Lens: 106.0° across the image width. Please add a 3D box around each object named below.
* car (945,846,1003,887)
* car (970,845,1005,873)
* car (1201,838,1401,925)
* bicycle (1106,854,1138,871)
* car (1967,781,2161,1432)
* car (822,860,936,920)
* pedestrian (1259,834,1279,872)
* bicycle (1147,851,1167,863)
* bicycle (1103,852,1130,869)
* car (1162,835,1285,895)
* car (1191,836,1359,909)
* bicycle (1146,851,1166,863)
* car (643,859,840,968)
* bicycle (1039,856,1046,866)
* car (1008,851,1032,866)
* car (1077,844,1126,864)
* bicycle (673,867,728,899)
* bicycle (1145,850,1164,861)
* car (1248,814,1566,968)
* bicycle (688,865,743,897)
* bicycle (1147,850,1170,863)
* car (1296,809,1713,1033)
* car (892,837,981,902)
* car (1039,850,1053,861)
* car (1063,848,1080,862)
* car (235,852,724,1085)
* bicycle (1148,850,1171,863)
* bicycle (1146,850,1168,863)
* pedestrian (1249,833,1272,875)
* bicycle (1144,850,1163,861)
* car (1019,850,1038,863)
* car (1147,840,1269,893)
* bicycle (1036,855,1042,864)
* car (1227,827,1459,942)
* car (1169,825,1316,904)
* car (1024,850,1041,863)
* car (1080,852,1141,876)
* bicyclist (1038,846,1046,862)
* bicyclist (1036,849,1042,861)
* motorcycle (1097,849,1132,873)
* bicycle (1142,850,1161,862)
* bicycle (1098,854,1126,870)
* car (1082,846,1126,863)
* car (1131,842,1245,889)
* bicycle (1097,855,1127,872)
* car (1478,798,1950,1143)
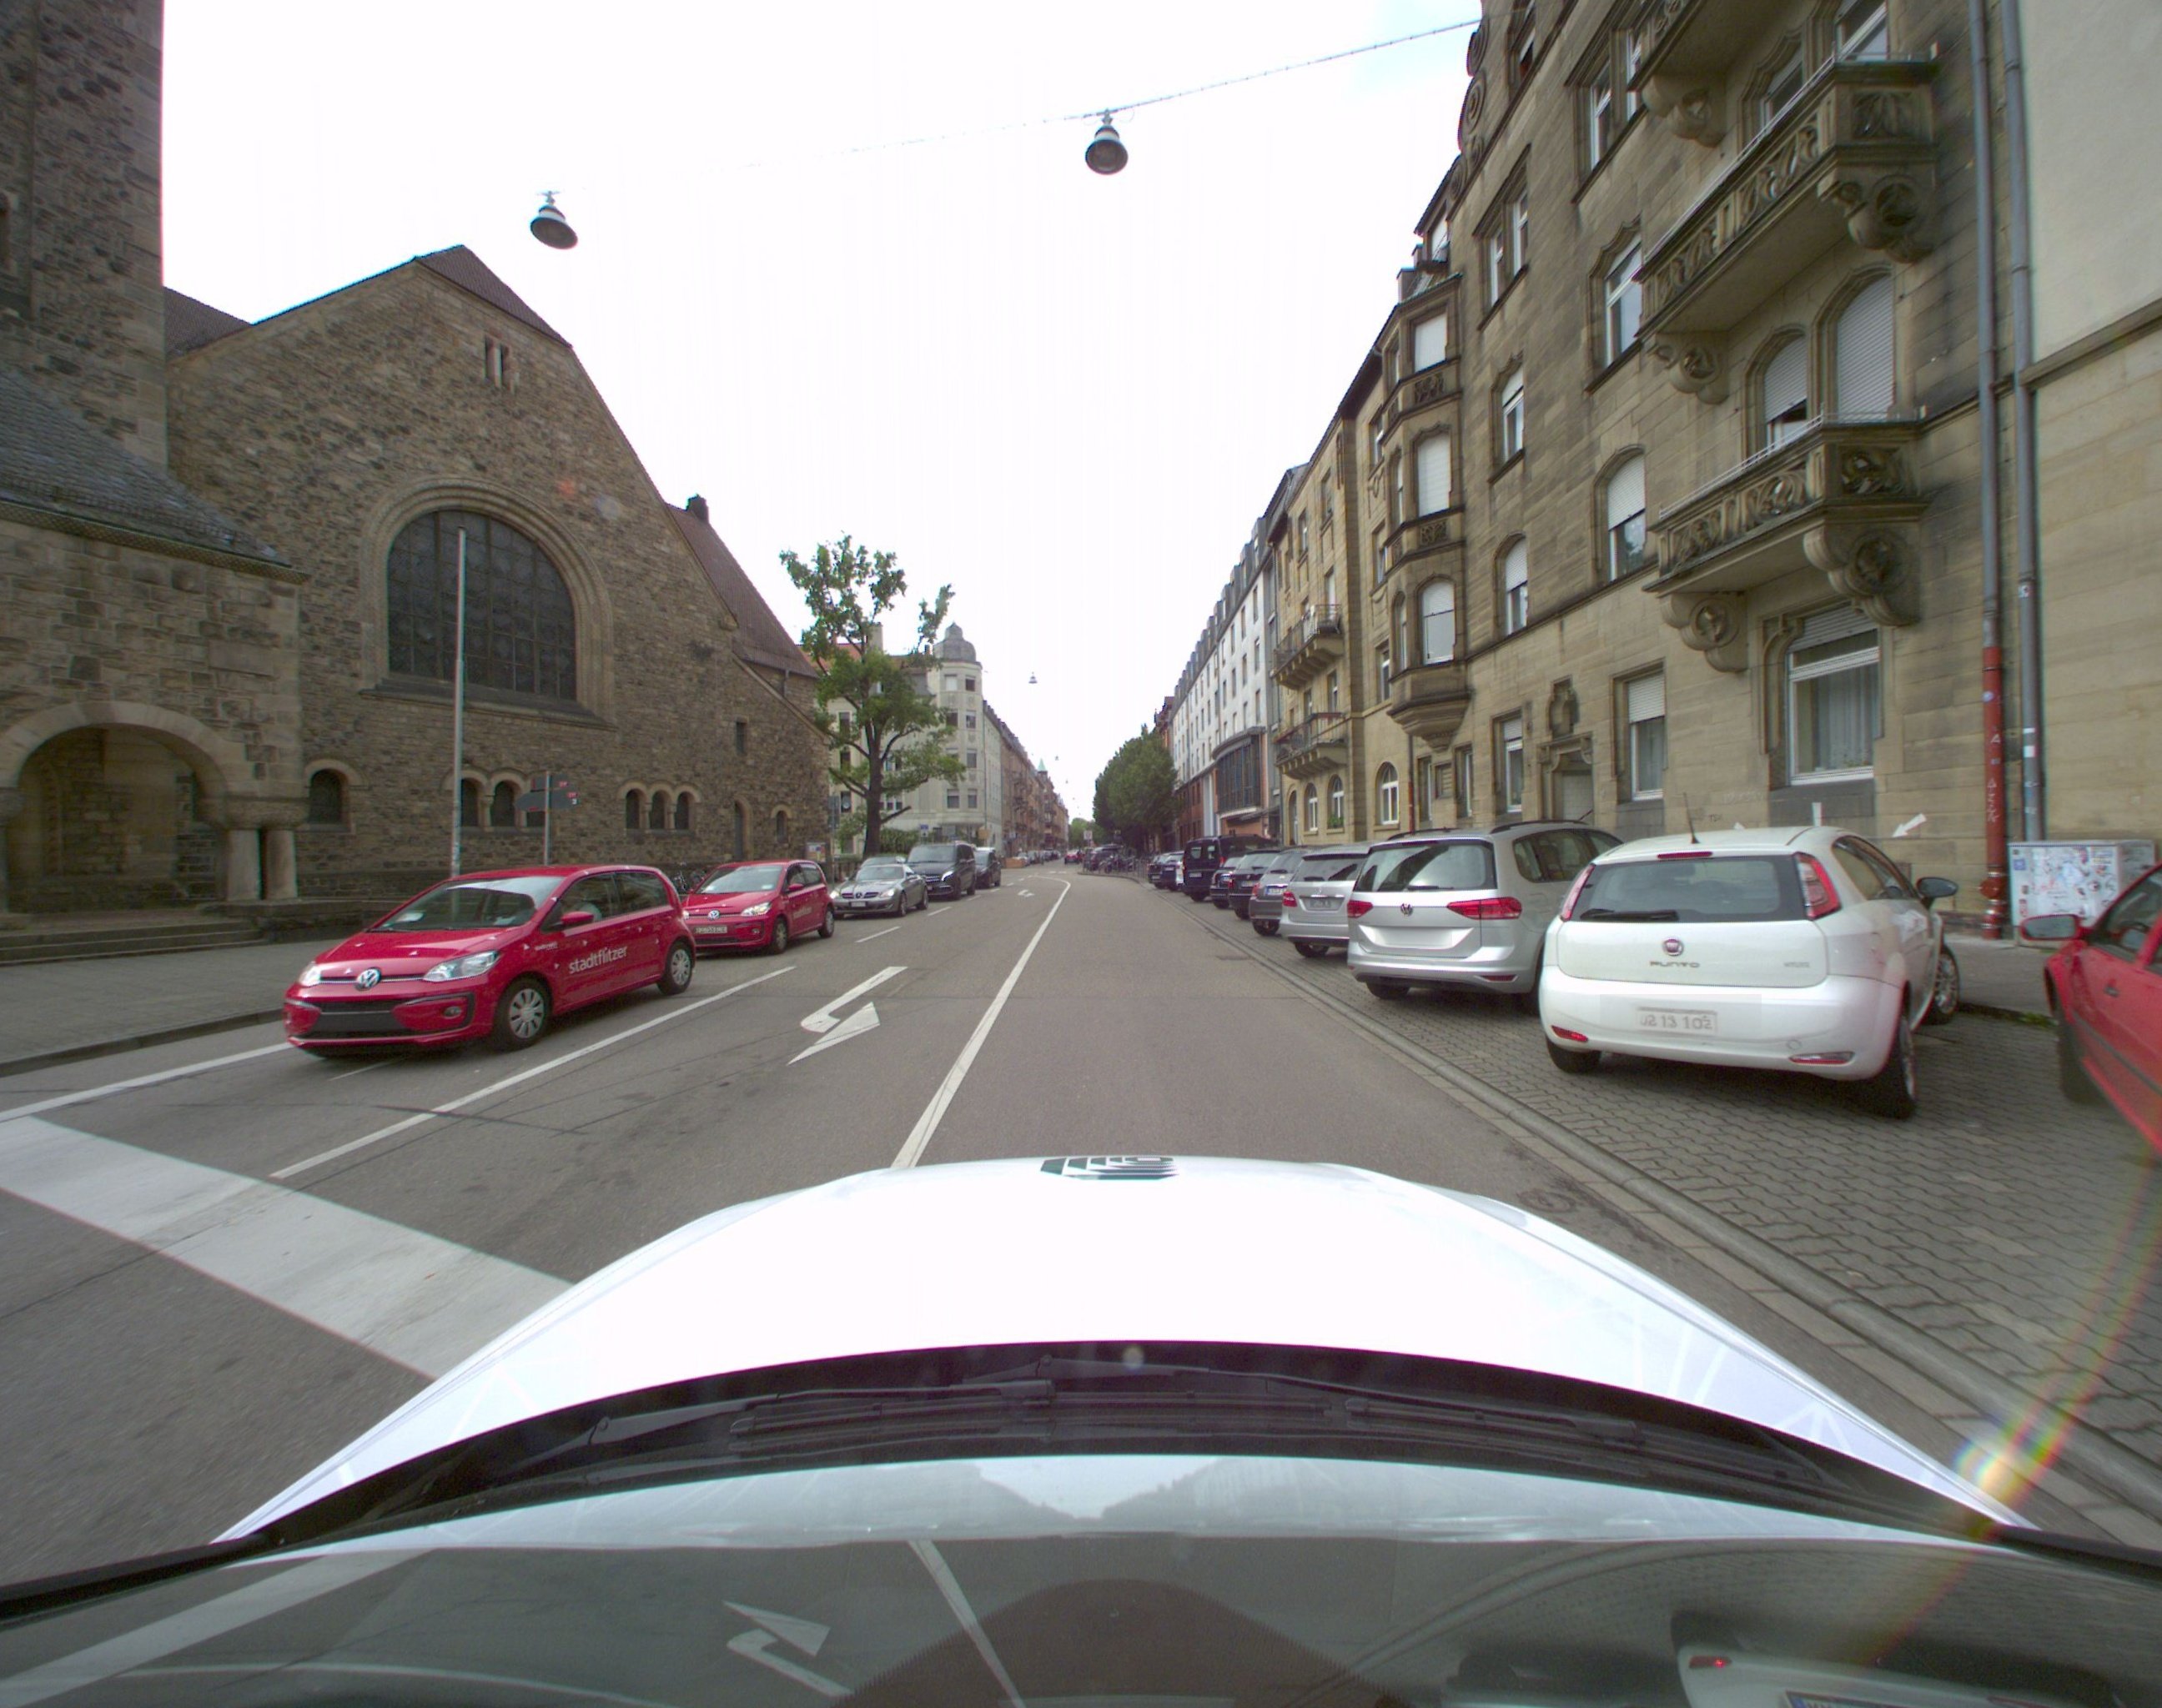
[{"bbox_3d":[-4.620,0.498,35.824,1.838,1.684,4.549,-1,0,1],"label":"car"},{"bbox_3d":[-6.871,0.347,60.079,1.836,1.939,4.551,-1,0,3],"label":"car"},{"bbox_3d":[4.870,0.522,17.702,4.487,1.552,1.831,-3,0,-38],"label":"car"},{"bbox_3d":[2.671,0.546,53.483,2.004,1.062,0.611,-2,-1,-3],"label":"bicycle"},{"bbox_3d":[4.639,0.505,2.838,1.772,1.561,3.858,-5,0,44],"label":"car"},{"bbox_3d":[-4.999,0.838,20.718,1.698,1.286,4.044,-3,0,2],"label":"car"},{"bbox_3d":[7.514,-0.035,32.530,0.565,1.529,0.547,0,-2,-42],"label":"pedestrian"},{"bbox_3d":[6.826,0.253,73.513,1.747,1.092,0.565,-1,-1,0],"label":"bicycle"},{"bbox_3d":[2.512,0.469,58.010,1.879,1.141,0.611,-2,-1,-3],"label":"bicycle"},{"bbox_3d":[4.753,0.334,26.951,4.021,1.601,1.745,-5,2,-40],"label":"car"},{"bbox_3d":[5.046,0.446,20.969,4.092,1.453,2.008,-6,1,-38],"label":"car"},{"bbox_3d":[6.869,0.264,74.296,1.747,1.092,0.565,-1,-1,0],"label":"bicycle"},{"bbox_3d":[-5.353,0.855,13.389,1.597,1.457,3.717,-3,0,0],"label":"car"},{"bbox_3d":[-4.277,0.737,90.889,0.565,1.087,1.988,-1,0,2],"label":"bicycle"},{"bbox_3d":[-6.542,0.479,87.669,1.936,1.553,3.820,-2,0,3],"label":"car"},{"bbox_3d":[2.443,-0.061,95.772,5.647,2.127,1.930,-2,0,-34],"label":"car"},{"bbox_3d":[-13.998,1.057,29.949,1.766,1.130,0.663,-1,0,13],"label":"bicycle"},{"bbox_3d":[6.984,0.144,77.757,1.747,1.092,0.565,-1,-1,0],"label":"bicycle"},{"bbox_3d":[4.807,0.408,11.708,4.774,1.685,1.915,-4,0,-36],"label":"car"},{"bbox_3d":[-13.800,1.029,30.737,1.765,1.166,0.744,-1,0,13],"label":"bicycle"},{"bbox_3d":[6.771,0.217,71.280,1.889,1.092,0.543,-1,-1,0],"label":"bicycle"},{"bbox_3d":[4.411,0.492,8.301,4.242,1.682,1.896,-3,-1,-34],"label":"car"},{"bbox_3d":[-4.691,0.441,27.329,1.905,1.954,5.285,-1,0,1],"label":"car"},{"bbox_3d":[-5.670,0.175,132.323,1.937,1.742,3.943,0,0,1],"label":"car"},{"bbox_3d":[-1.156,0.181,102.008,1.987,1.681,3.998,-1,-1,-1],"label":"car"},{"bbox_3d":[-5.178,0.823,7.804,1.643,1.528,3.895,-3,1,1],"label":"car"},{"bbox_3d":[6.769,0.206,70.674,1.927,1.092,0.577,-1,-1,0],"label":"bicycle"},{"bbox_3d":[6.725,0.227,72.089,1.830,1.092,0.543,-1,-1,0],"label":"bicycle"},{"bbox_3d":[7.671,-0.008,34.809,0.628,1.753,0.811,-4,0,-3],"label":"pedestrian"},{"bbox_3d":[7.014,0.157,78.503,1.747,1.092,0.565,-1,-1,0],"label":"bicycle"},{"bbox_3d":[-6.342,0.304,98.760,1.937,1.617,3.943,0,0,1],"label":"car"},{"bbox_3d":[4.642,0.411,29.661,4.012,1.533,1.914,-5,2,-29],"label":"car"},{"bbox_3d":[-4.907,0.638,95.722,0.533,0.977,1.865,-1,-1,0],"label":"bicycle"},{"bbox_3d":[4.834,0.454,14.718,4.488,1.573,1.727,-5,2,-38],"label":"car"},{"bbox_3d":[4.787,0.245,23.817,4.306,1.906,1.857,-5,2,-41],"label":"car"},{"bbox_3d":[-6.213,0.297,104.233,1.937,1.617,3.943,0,0,1],"label":"car"},{"bbox_3d":[2.280,0.743,62.317,4.304,1.578,1.844,-4,0,-33],"label":"car"},{"bbox_3d":[-4.338,0.003,91.073,0.779,1.866,0.715,-1,0,2],"label":"bicyclist"},{"bbox_3d":[-4.919,0.149,95.707,0.666,1.399,0.783,-1,-1,-2],"label":"bicyclist"},{"bbox_3d":[2.150,0.458,52.379,2.129,1.429,0.770,-2,-1,-3],"label":"motorcycle"},{"bbox_3d":[6.845,0.173,79.269,1.747,1.092,0.565,-1,-1,0],"label":"bicycle"},{"bbox_3d":[2.125,0.546,55.761,1.879,1.043,0.611,-2,-1,-3],"label":"bicycle"},{"bbox_3d":[2.928,0.015,103.970,5.425,1.992,1.930,-2,0,-34],"label":"car"},{"bbox_3d":[4.311,0.436,32.717,4.267,1.478,1.671,-5,2,-24],"label":"car"},{"bbox_3d":[2.082,0.631,54.266,1.924,1.043,0.611,-2,-1,-3],"label":"bicycle"},{"bbox_3d":[4.506,0.502,5.612,3.608,1.508,1.827,-5,0,-41],"label":"car"}]
